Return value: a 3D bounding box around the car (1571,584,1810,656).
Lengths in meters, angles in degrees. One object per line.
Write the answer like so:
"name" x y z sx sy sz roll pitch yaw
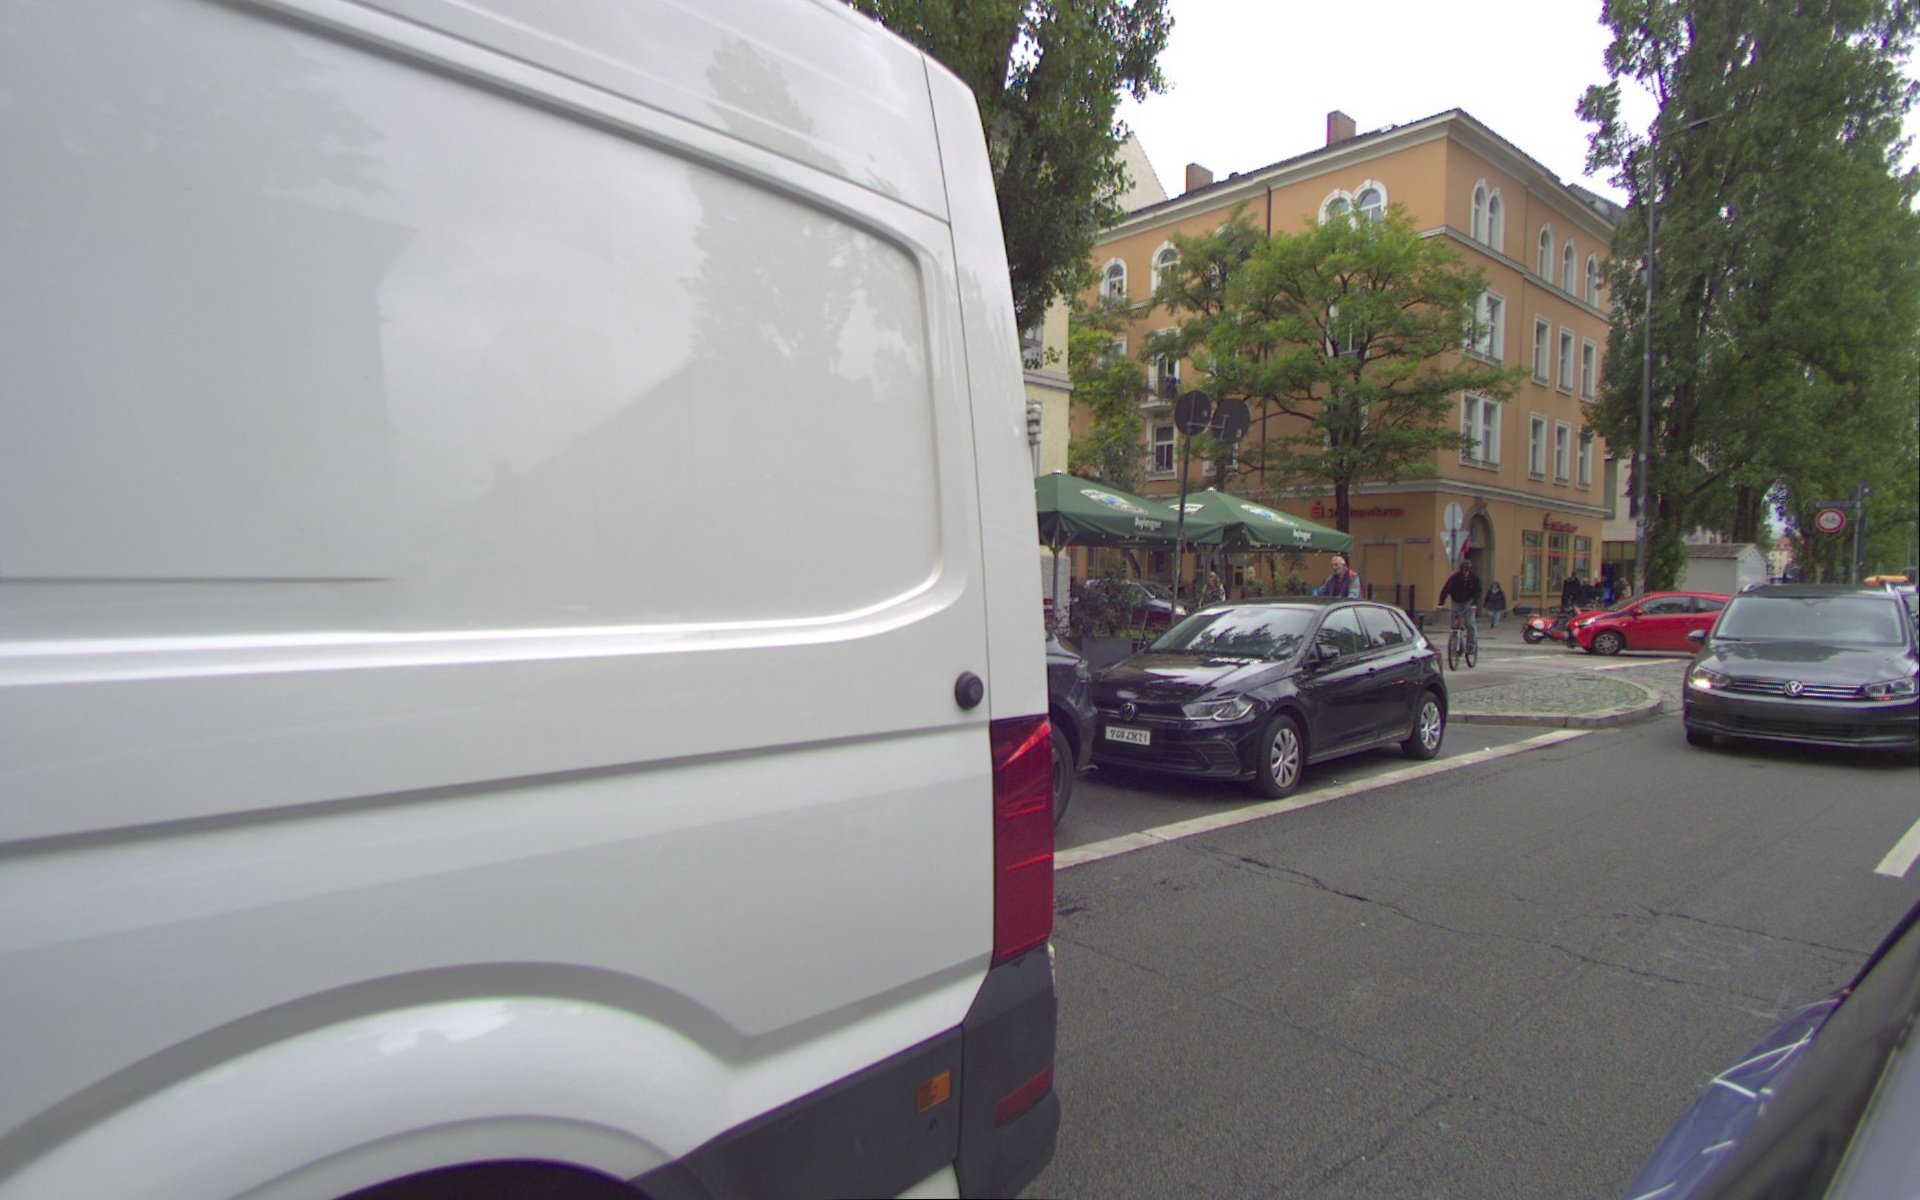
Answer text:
"car" 15.816 0.385 22.165 3.958 1.451 1.605 1 0 23

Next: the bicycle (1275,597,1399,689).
"bicycle" 5.203 0.536 13.887 0.884 1.134 2.070 2 2 42

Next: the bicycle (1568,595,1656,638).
"bicycle" 17.976 0.431 27.939 0.551 1.089 1.945 0 2 -39

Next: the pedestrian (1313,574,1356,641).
"pedestrian" 9.093 0.164 24.590 0.651 1.590 0.746 0 0 -38

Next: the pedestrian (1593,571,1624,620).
"pedestrian" 22.855 -0.157 35.654 0.758 1.682 0.745 0 0 -41

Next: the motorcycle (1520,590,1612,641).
"motorcycle" 15.628 0.389 26.150 1.939 1.236 0.510 2 1 25

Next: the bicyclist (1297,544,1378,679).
"bicyclist" 5.154 0.133 13.834 0.828 1.779 0.657 2 1 42

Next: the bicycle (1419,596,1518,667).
"bicycle" 8.738 0.510 17.350 2.064 1.134 0.737 0 1 -40

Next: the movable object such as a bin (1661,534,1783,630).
"movable object such as a bin" 27.137 -0.647 35.997 4.463 3.175 2.445 0 3 -41

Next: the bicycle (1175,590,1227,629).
"bicycle" 8.933 0.328 37.539 0.551 1.389 1.945 0 0 -39

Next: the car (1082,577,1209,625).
"car" 6.284 0.023 34.615 1.873 1.539 3.993 -1 1 -41

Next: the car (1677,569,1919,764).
"car" 8.939 0.536 10.321 4.122 1.611 1.880 0 1 -43

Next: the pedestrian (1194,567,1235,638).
"pedestrian" 5.834 0.045 23.220 0.564 1.590 0.699 0 0 -38

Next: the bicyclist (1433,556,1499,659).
"bicyclist" 8.633 0.115 17.256 0.735 1.708 0.741 0 1 -39

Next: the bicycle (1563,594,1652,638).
"bicycle" 17.531 0.408 27.456 0.551 1.102 1.945 0 2 -39

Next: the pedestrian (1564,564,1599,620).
"pedestrian" 22.138 -0.290 36.031 0.787 1.973 0.839 0 0 -39

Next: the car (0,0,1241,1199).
"car" -2.692 0.170 0.409 6.611 2.524 2.067 0 1 -41

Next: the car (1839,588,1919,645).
"car" 27.745 0.457 30.160 4.421 1.572 1.787 0 1 -42

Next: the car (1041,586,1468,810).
"car" 2.632 0.624 8.545 3.884 1.434 1.696 0 1 -43

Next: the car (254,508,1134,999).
"car" -1.115 0.493 5.569 4.371 1.658 1.805 0 1 -42

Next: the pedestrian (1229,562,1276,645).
"pedestrian" 6.442 0.071 22.298 0.718 1.788 0.699 0 0 -38

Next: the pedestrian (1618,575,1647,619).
"pedestrian" 24.554 -0.099 36.953 0.603 1.590 0.746 0 0 -38

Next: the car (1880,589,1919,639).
"car" 33.268 0.469 34.940 4.421 1.634 1.787 0 1 -42

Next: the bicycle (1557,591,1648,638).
"bicycle" 17.056 0.371 26.907 0.551 1.151 1.945 0 2 -39

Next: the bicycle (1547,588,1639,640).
"bicycle" 16.560 0.350 26.515 0.551 1.255 1.945 0 1 -39
